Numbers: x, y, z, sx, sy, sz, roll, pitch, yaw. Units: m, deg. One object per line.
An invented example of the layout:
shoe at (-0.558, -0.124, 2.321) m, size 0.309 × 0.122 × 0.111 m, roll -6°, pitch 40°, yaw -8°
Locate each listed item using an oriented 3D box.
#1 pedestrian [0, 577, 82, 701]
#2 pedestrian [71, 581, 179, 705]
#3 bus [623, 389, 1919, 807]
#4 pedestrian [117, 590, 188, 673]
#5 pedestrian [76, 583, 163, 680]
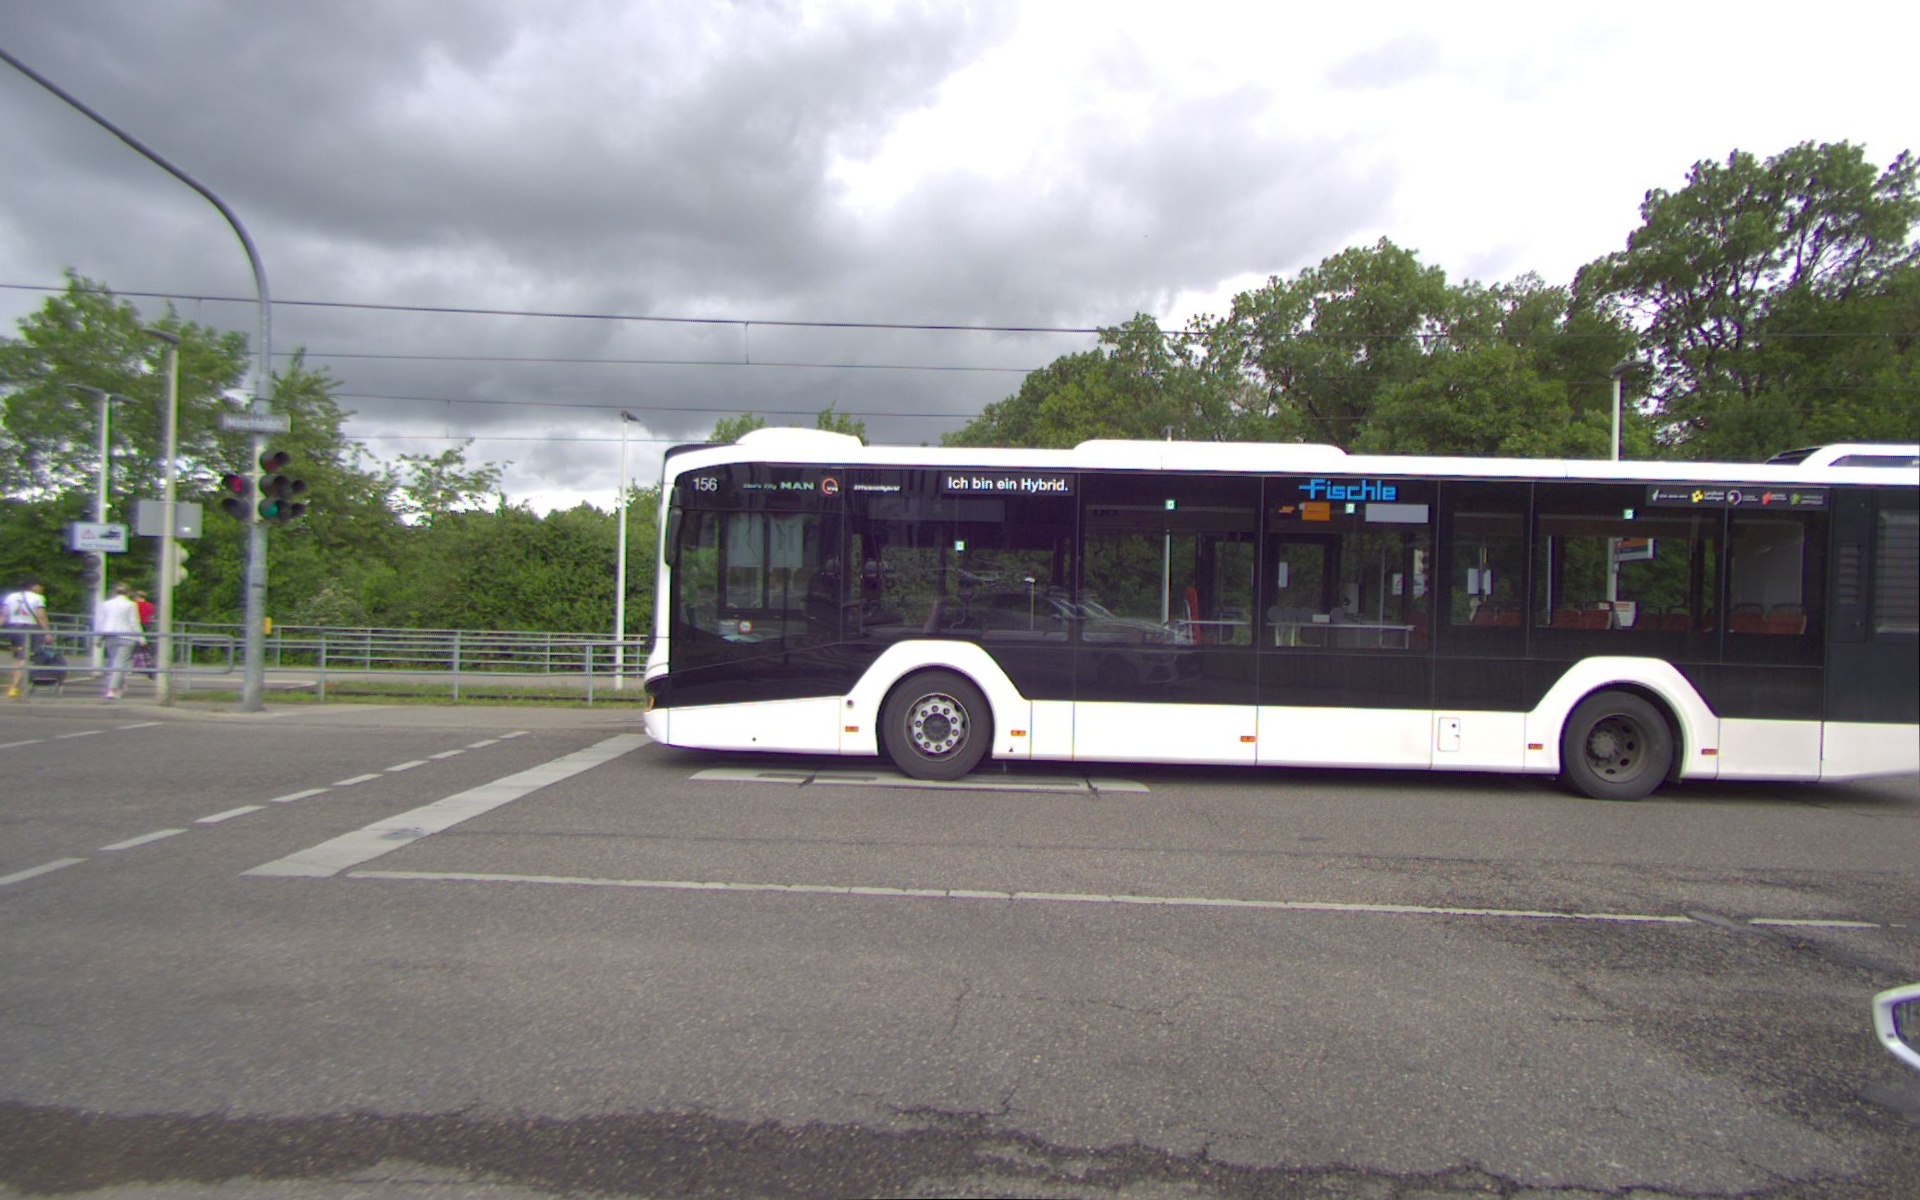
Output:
pedestrian at (-13.813, 0.564, 14.858) m, size 0.708 × 1.771 × 0.958 m, roll 2°, pitch -1°, yaw 7°
pedestrian at (-12.469, 0.628, 15.022) m, size 0.708 × 1.771 × 0.958 m, roll 2°, pitch -1°, yaw 7°
bus at (3.154, -0.007, 9.877) m, size 11.956 × 3.245 × 2.676 m, roll 2°, pitch -1°, yaw 2°
pedestrian at (-16.510, 0.649, 20.555) m, size 0.708 × 1.642 × 0.805 m, roll 2°, pitch -1°, yaw 1°
pedestrian at (-15.849, 0.598, 18.959) m, size 0.939 × 1.771 × 0.722 m, roll 2°, pitch -1°, yaw -2°
